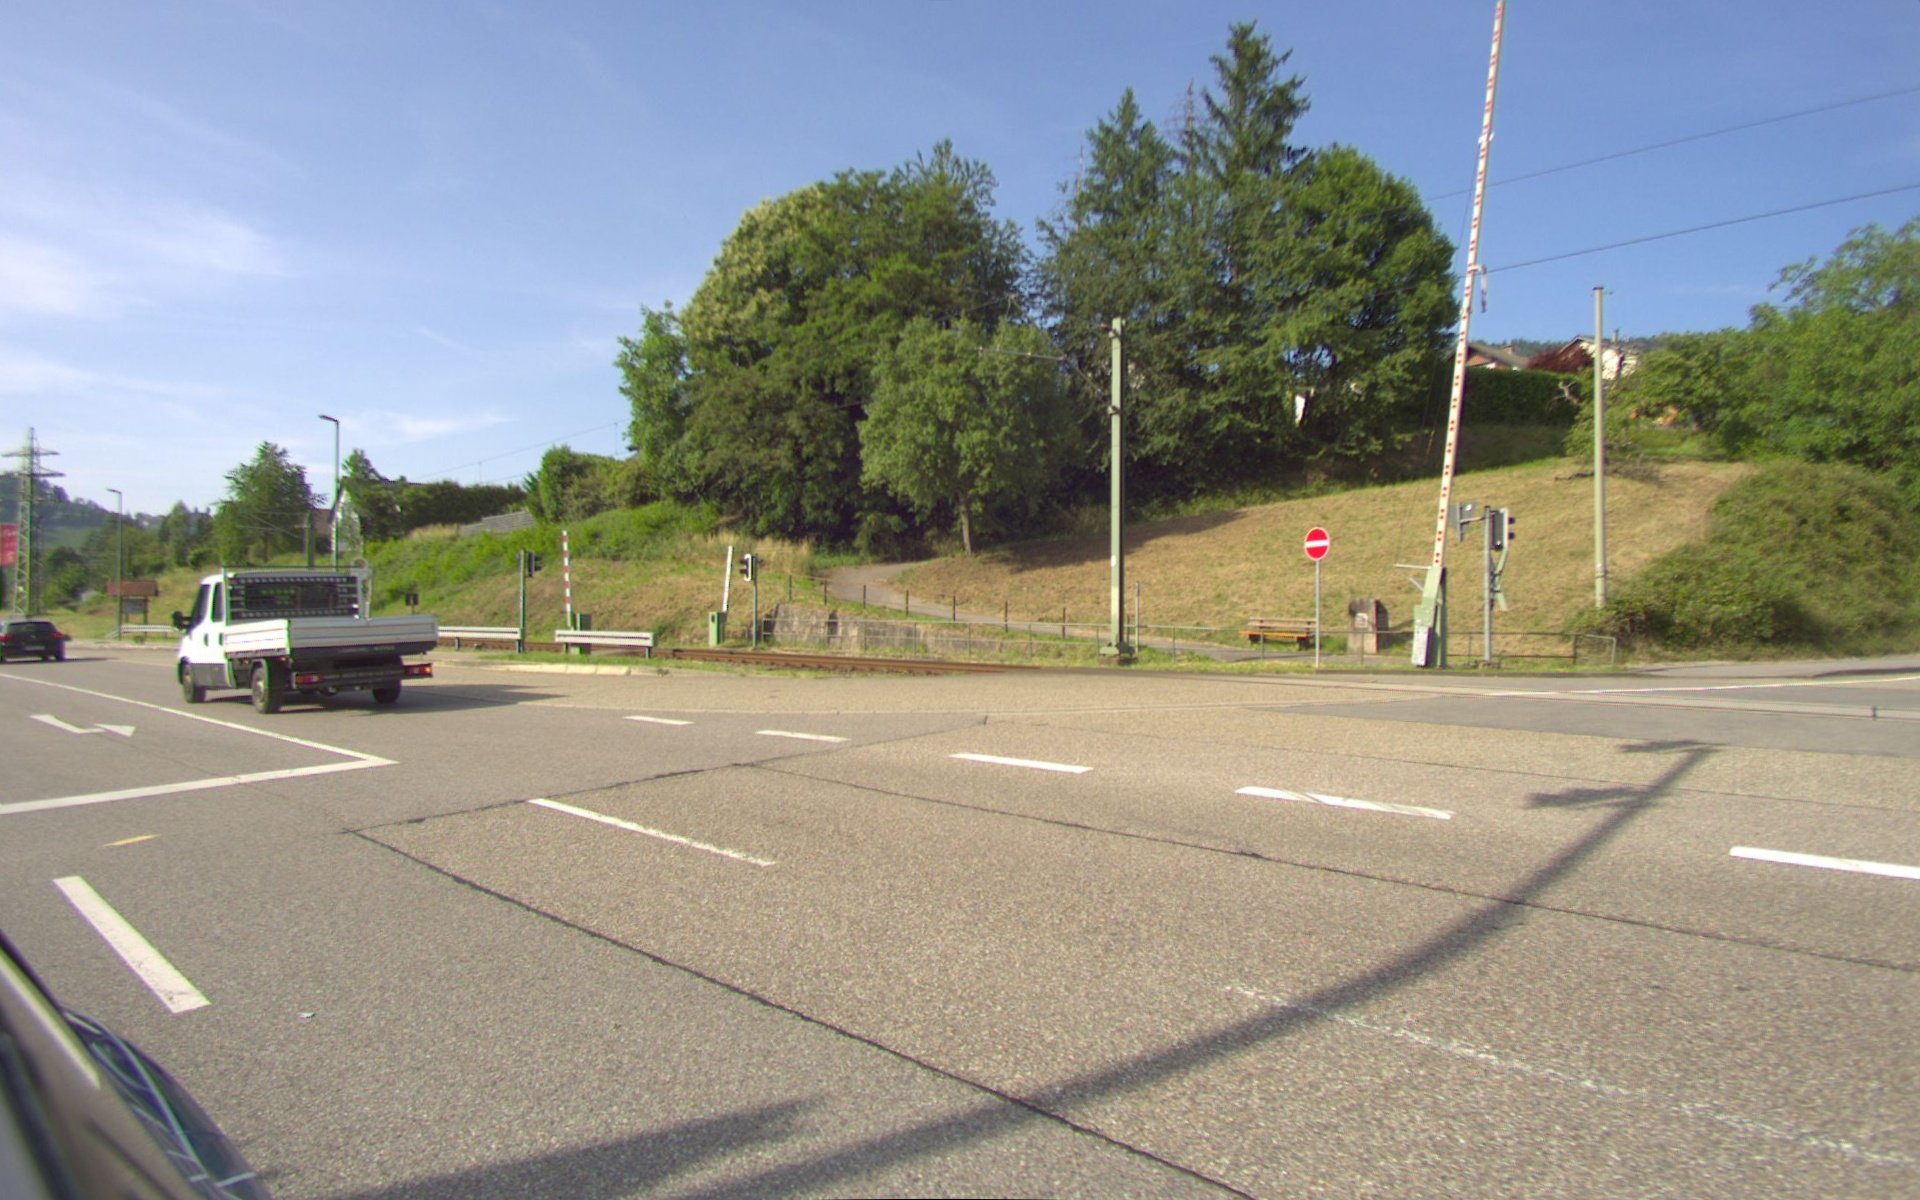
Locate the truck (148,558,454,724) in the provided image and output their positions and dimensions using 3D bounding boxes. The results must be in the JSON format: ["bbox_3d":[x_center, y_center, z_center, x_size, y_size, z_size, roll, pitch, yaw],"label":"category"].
[{"bbox_3d":[-11.135,0.596,16.863,6.273,2.283,2.423,-1,0,39],"label":"truck"}]

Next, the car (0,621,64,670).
[{"bbox_3d":[-31.521,1.485,33.887,3.996,1.497,1.670,-1,0,40],"label":"car"}]
